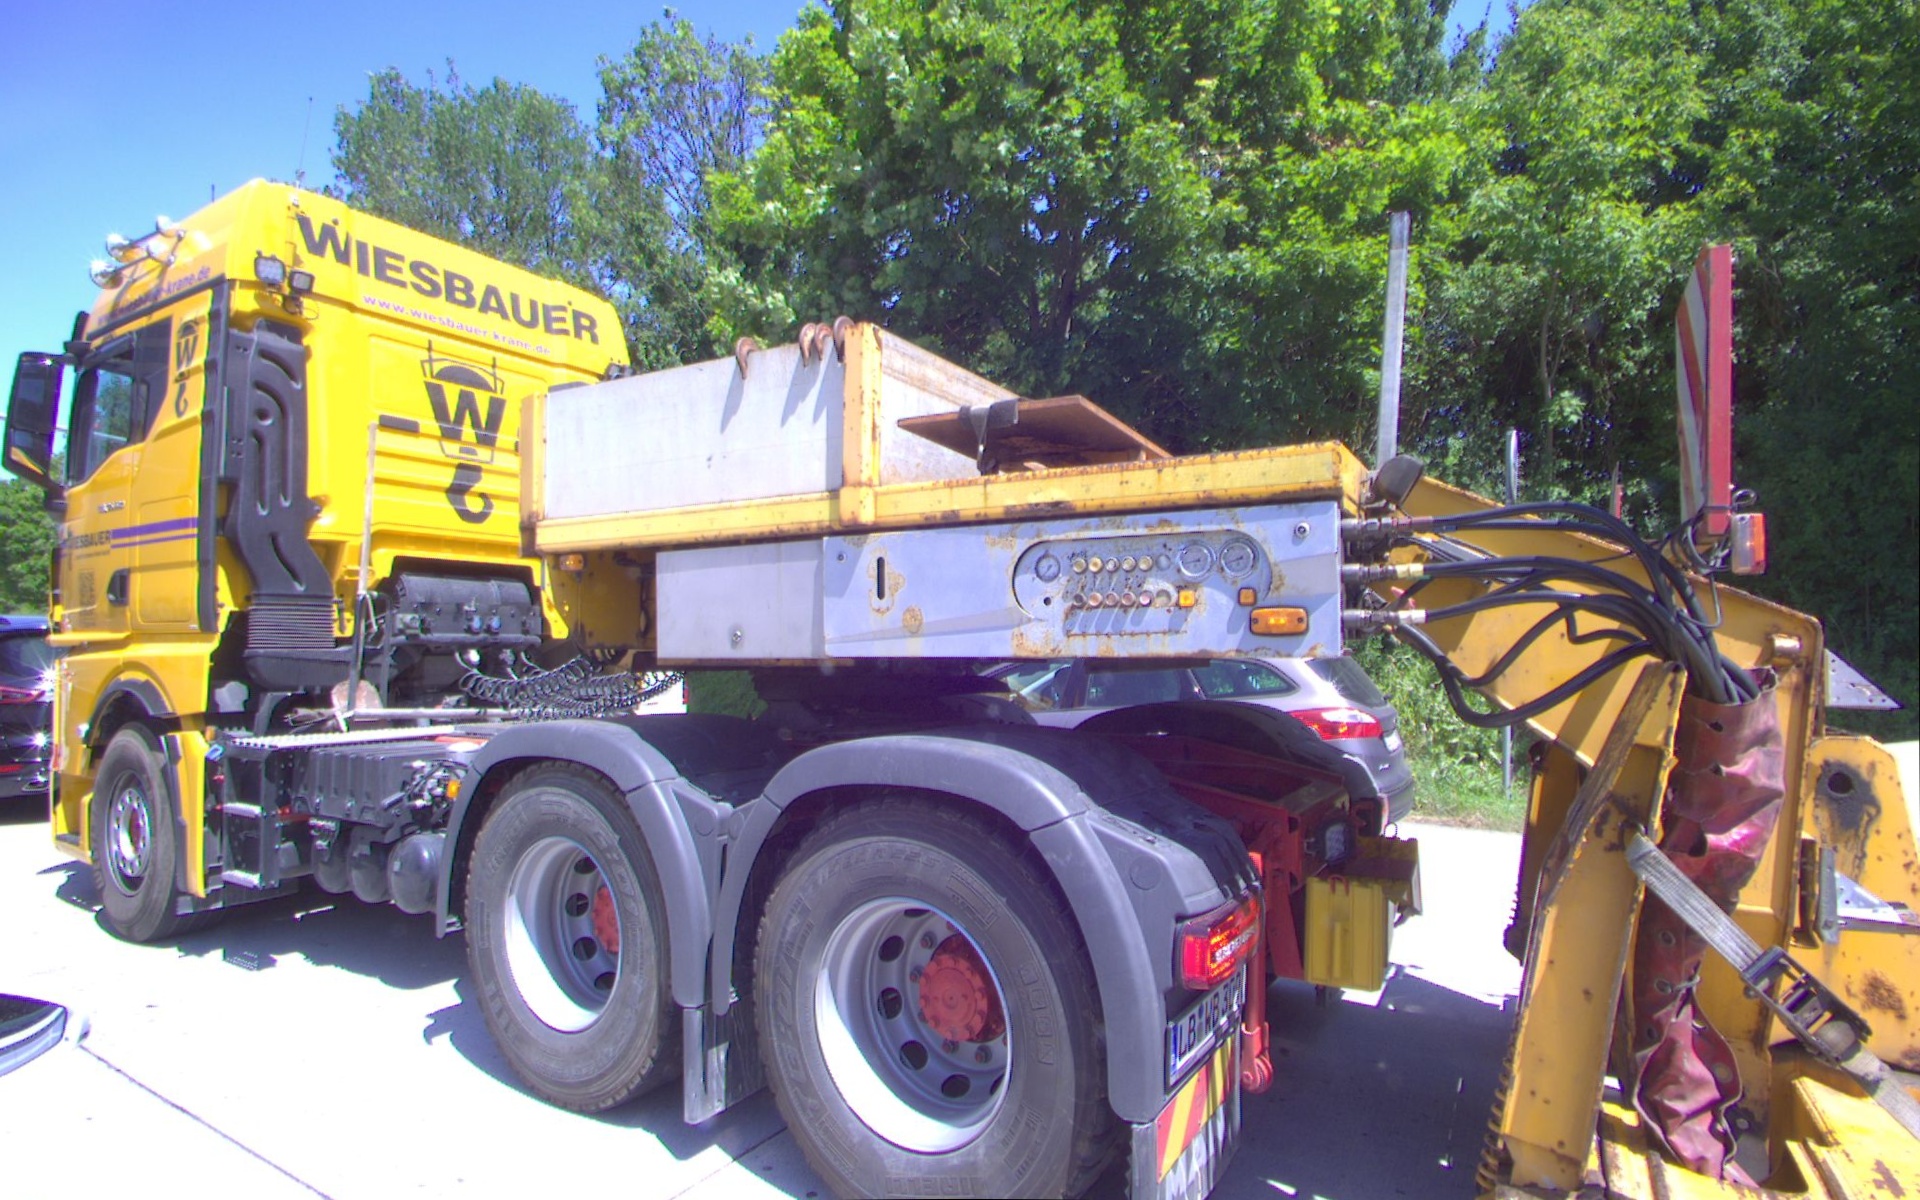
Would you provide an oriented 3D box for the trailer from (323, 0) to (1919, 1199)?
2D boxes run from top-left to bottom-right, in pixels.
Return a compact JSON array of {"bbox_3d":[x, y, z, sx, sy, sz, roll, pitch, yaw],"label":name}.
[{"bbox_3d":[5.430,0.200,0.632,16.117,2.626,3.023,-1,-2,31],"label":"trailer"}]

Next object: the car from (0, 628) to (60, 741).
[{"bbox_3d":[-14.188,1.111,13.747,4.548,1.428,1.763,-2,-2,35],"label":"car"}]

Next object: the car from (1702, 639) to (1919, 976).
[{"bbox_3d":[6.164,0.923,4.348,4.530,1.481,1.766,-1,-2,30],"label":"car"}]

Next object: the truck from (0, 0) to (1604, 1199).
[{"bbox_3d":[-1.386,-0.331,4.783,7.361,3.821,3.009,-1,-2,31],"label":"truck"}]

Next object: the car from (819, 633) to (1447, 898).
[{"bbox_3d":[1.182,0.995,7.481,4.300,1.481,1.765,-1,-2,31],"label":"car"}]

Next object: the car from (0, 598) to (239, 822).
[{"bbox_3d":[-8.653,0.887,9.271,4.584,1.660,1.779,-1,-2,35],"label":"car"}]

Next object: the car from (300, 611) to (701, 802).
[{"bbox_3d":[-5.370,1.093,11.540,4.720,1.830,1.766,-1,-2,29],"label":"car"}]
